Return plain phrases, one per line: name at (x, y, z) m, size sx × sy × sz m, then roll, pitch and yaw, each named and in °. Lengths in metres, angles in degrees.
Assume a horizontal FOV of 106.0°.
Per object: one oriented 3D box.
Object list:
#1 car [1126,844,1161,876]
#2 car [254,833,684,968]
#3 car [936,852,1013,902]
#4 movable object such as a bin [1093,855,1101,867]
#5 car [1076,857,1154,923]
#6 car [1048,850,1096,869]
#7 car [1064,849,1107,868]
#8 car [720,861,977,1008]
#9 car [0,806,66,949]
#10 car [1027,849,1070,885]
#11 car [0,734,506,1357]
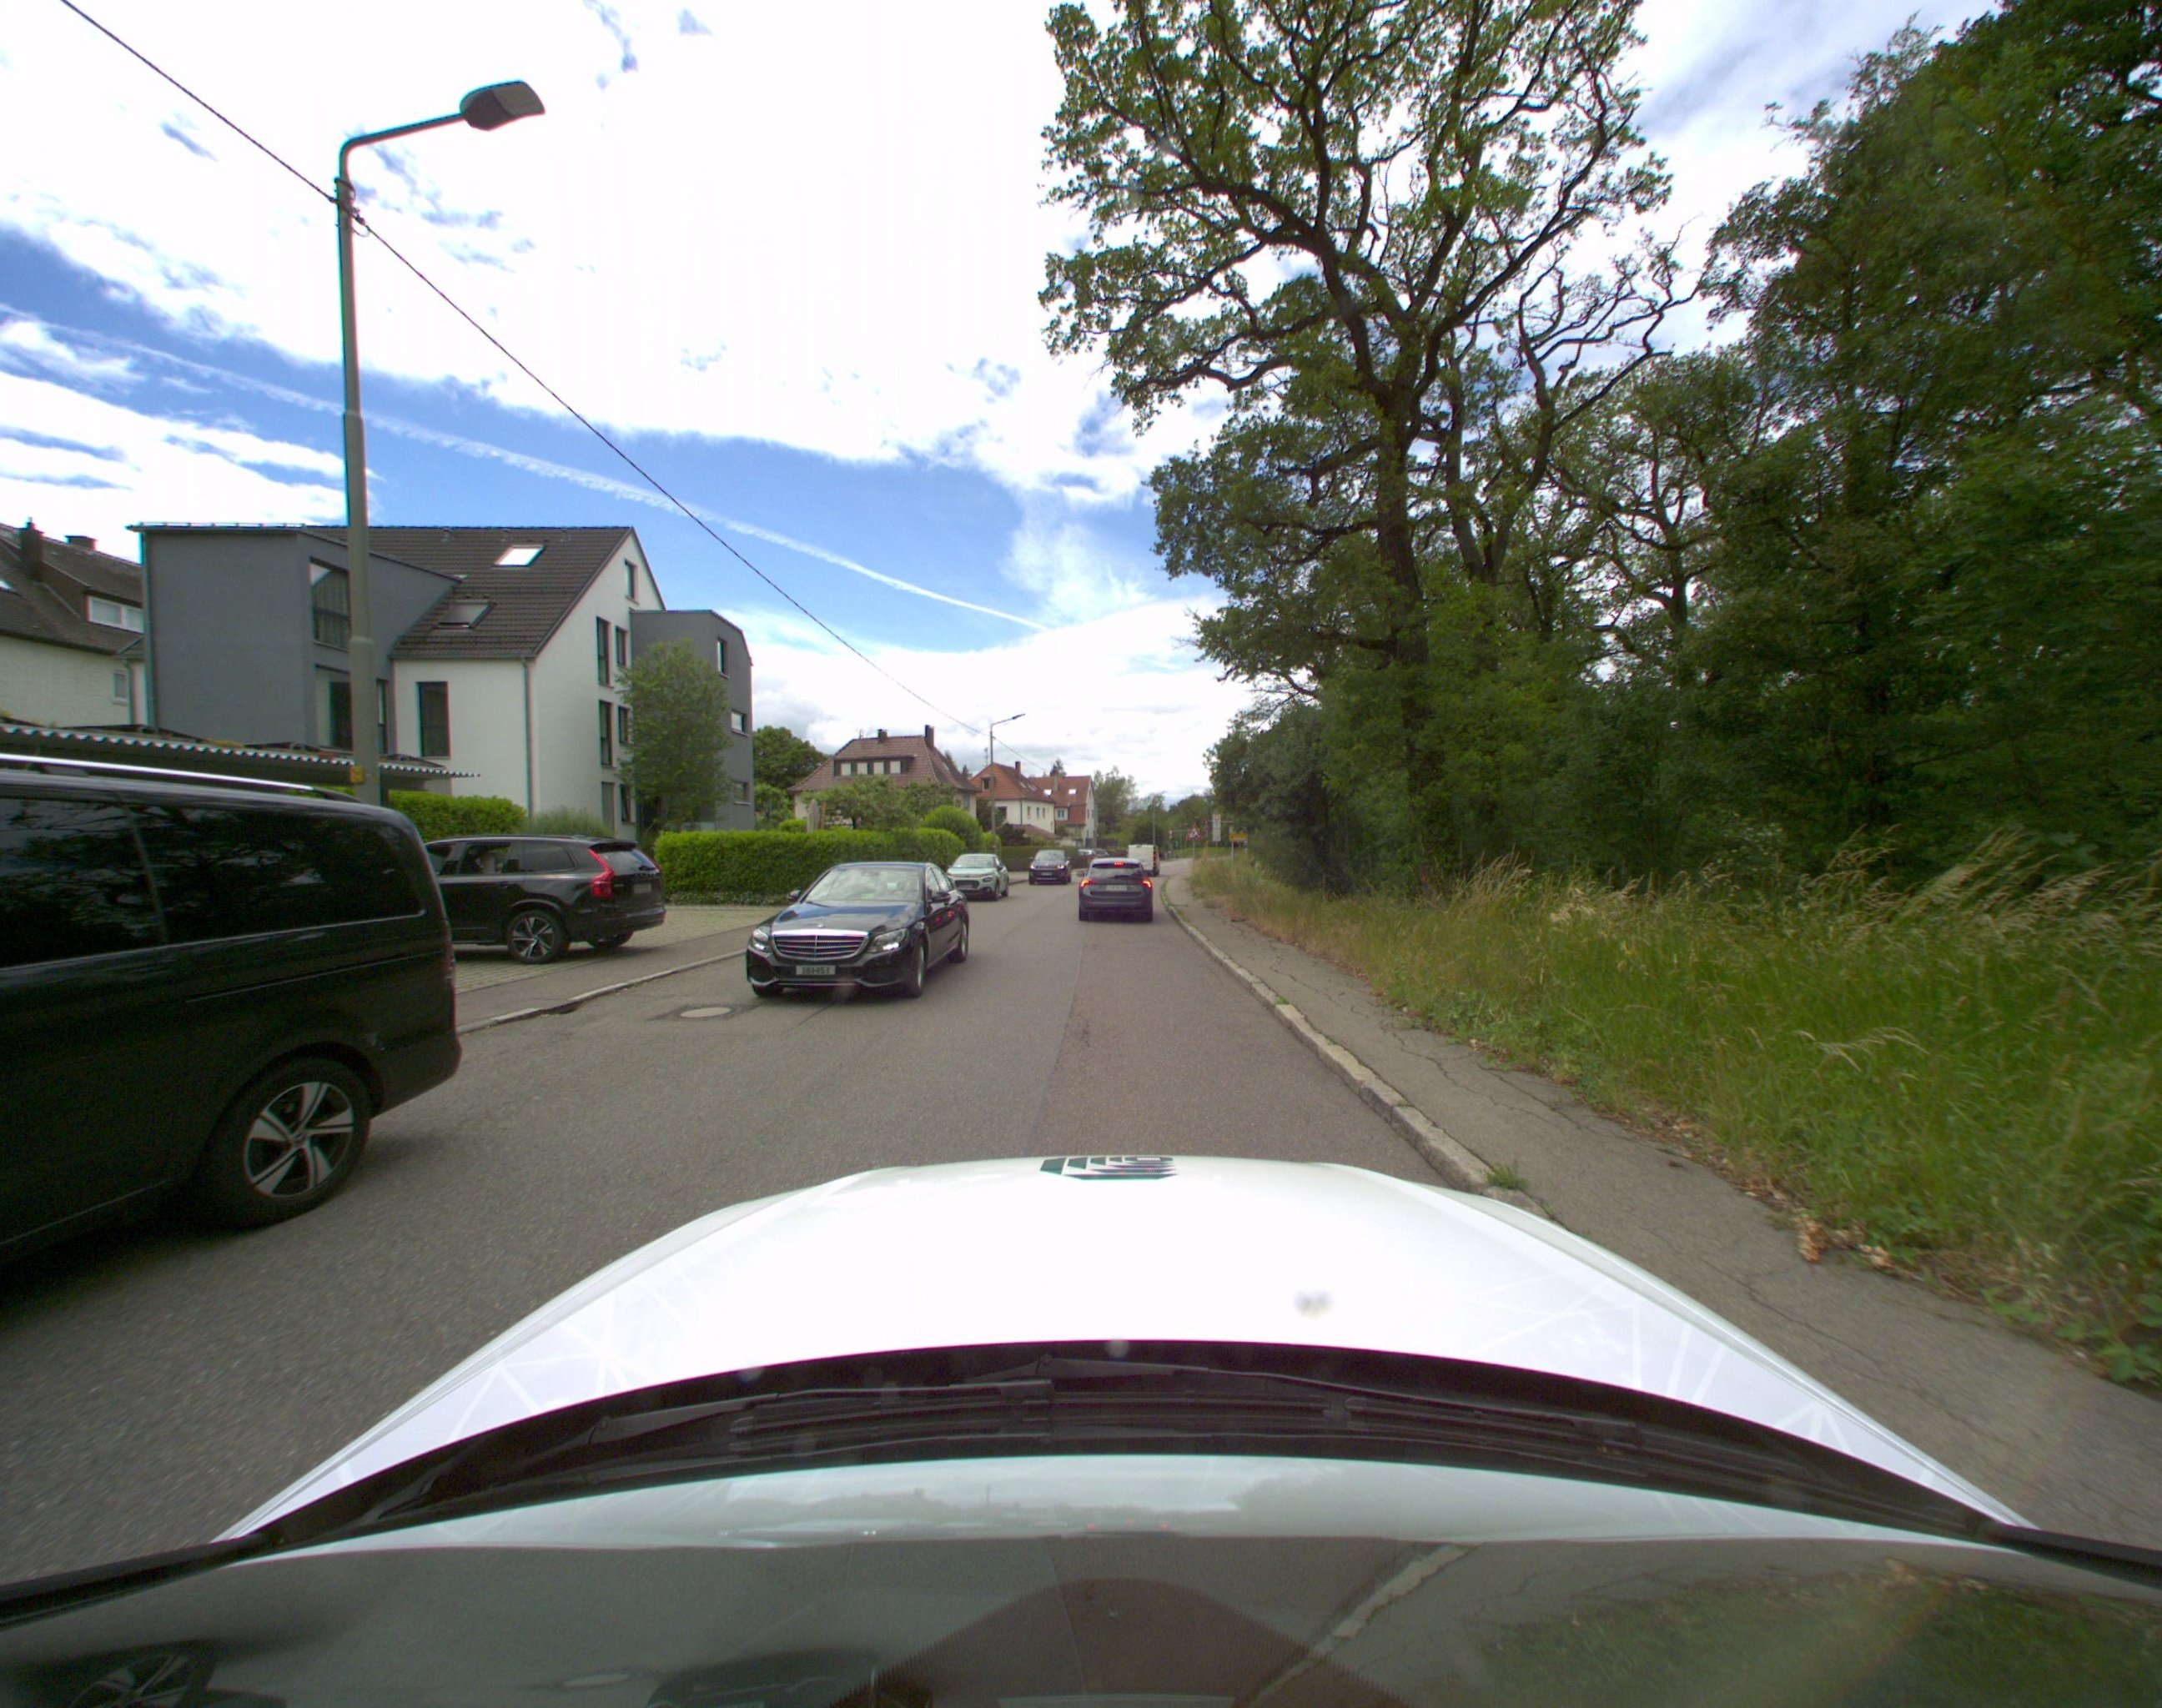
car at (4.008, 0.351, 51.615) m, size 2.061 × 1.922 × 4.930 m, roll 0°, pitch 0°, yaw 5°
car at (-8.572, 0.607, 11.788) m, size 4.604 × 1.697 × 1.998 m, roll -1°, pitch 0°, yaw -2°
car at (-3.418, 0.704, 26.824) m, size 1.776 × 1.500 × 4.018 m, roll 0°, pitch 0°, yaw 3°
movable object such as a bin at (1.361, 0.588, 69.332) m, size 0.596 × 0.951 × 0.581 m, roll -1°, pitch 0°, yaw 8°
car at (0.788, 0.818, 20.227) m, size 1.722 × 1.439 × 4.324 m, roll 0°, pitch 0°, yaw 1°
car at (-0.791, 0.472, 73.072) m, size 3.962 × 1.618 × 2.006 m, roll -1°, pitch 0°, yaw 10°
car at (0.465, 0.442, 78.016) m, size 3.969 × 1.706 × 1.919 m, roll -1°, pitch 0°, yaw 4°
car at (-2.579, 0.809, 10.320) m, size 1.856 × 1.414 × 4.593 m, roll 0°, pitch 0°, yaw 1°
car at (-15.092, 0.326, 9.147) m, size 4.604 × 1.697 × 1.999 m, roll -1°, pitch 2°, yaw -2°
car at (-1.505, 0.589, 39.615) m, size 1.827 × 1.597 × 4.325 m, roll 0°, pitch 1°, yaw 1°
car at (-4.275, 0.589, 2.140) m, size 1.856 × 1.926 × 5.039 m, roll 0°, pitch 0°, yaw 1°
